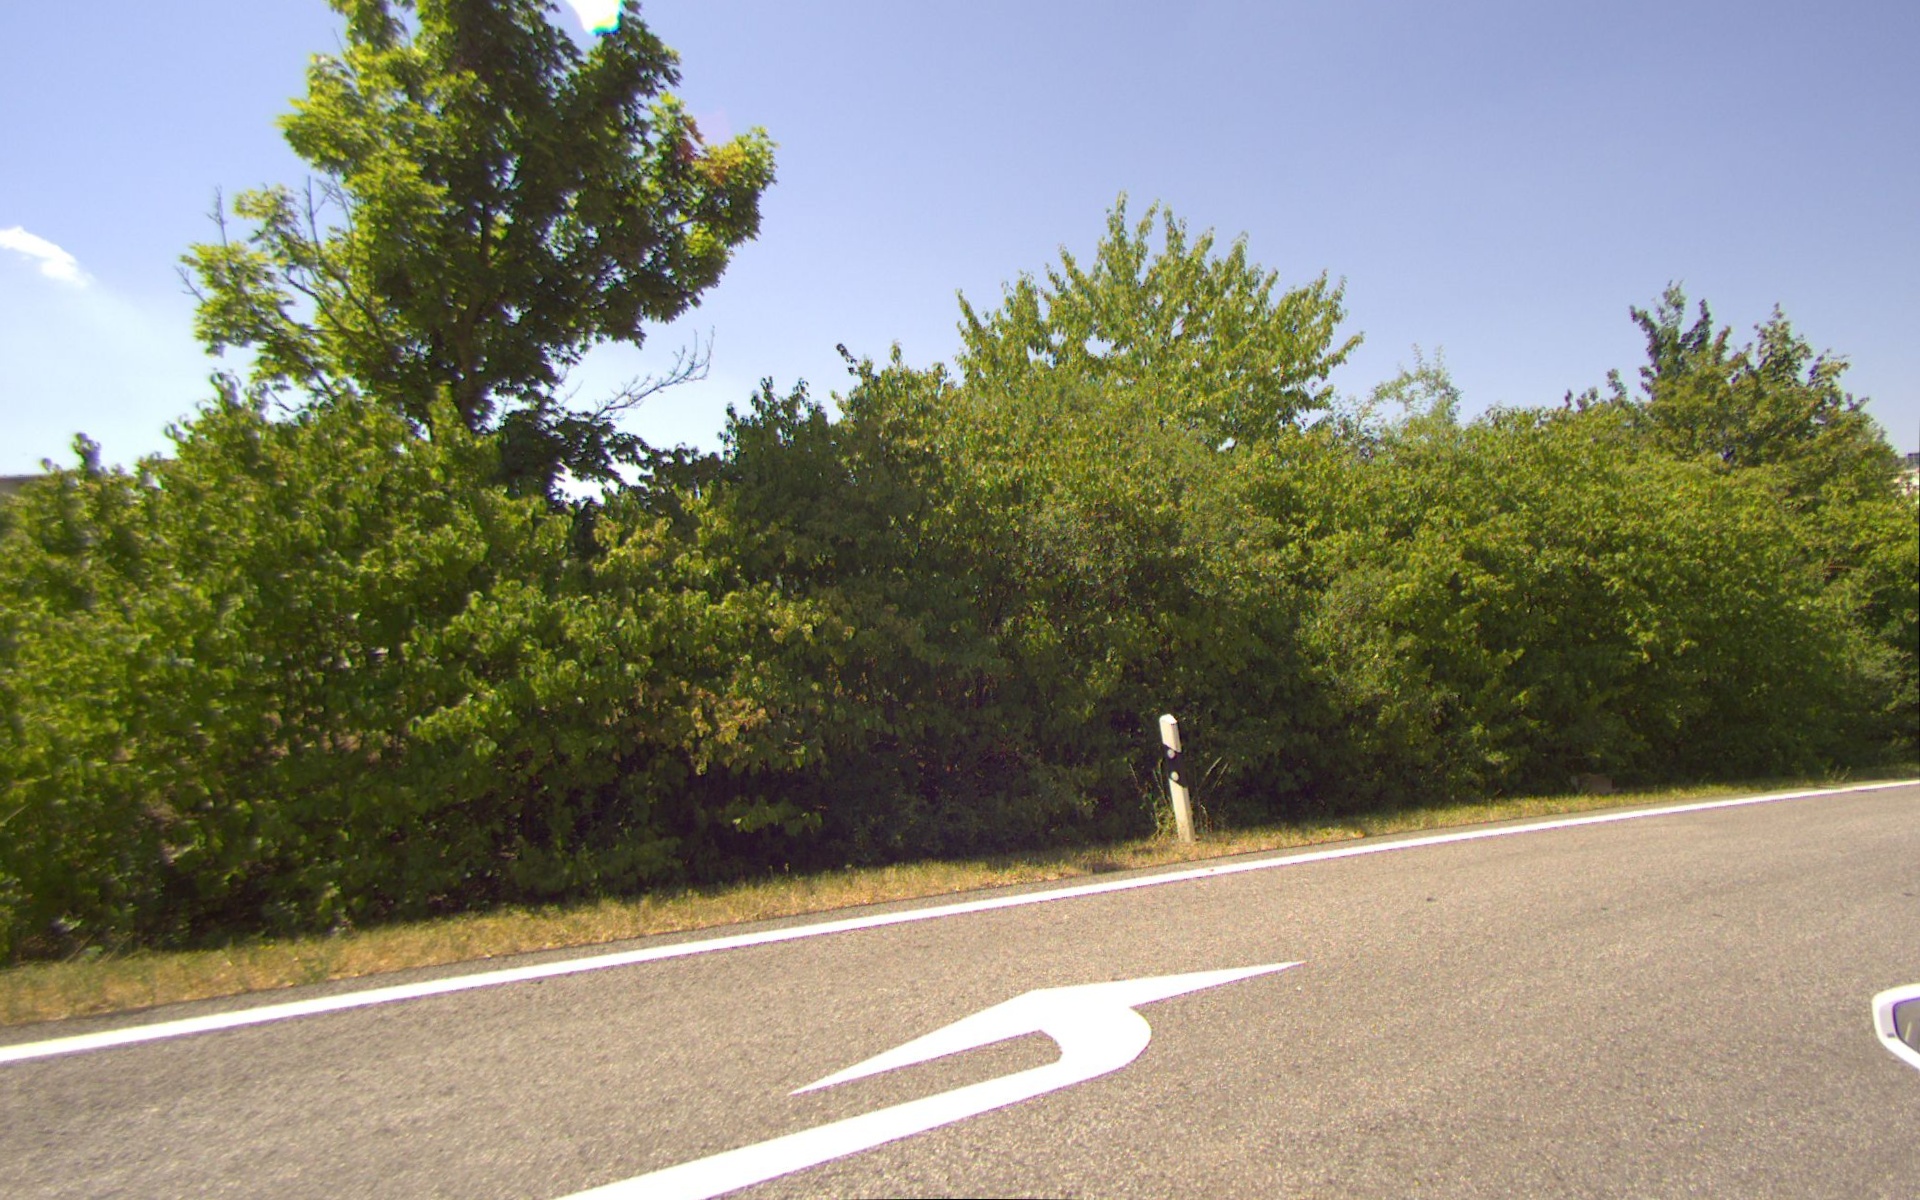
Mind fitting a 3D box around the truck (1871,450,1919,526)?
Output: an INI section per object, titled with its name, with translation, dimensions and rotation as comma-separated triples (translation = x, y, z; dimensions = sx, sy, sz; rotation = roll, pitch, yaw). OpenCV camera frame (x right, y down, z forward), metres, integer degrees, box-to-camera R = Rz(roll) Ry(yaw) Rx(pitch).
[truck]
translation = 53.193, -6.001, 53.339
dimensions = 8.762, 3.636, 3.026
rotation = -3, -2, -18
